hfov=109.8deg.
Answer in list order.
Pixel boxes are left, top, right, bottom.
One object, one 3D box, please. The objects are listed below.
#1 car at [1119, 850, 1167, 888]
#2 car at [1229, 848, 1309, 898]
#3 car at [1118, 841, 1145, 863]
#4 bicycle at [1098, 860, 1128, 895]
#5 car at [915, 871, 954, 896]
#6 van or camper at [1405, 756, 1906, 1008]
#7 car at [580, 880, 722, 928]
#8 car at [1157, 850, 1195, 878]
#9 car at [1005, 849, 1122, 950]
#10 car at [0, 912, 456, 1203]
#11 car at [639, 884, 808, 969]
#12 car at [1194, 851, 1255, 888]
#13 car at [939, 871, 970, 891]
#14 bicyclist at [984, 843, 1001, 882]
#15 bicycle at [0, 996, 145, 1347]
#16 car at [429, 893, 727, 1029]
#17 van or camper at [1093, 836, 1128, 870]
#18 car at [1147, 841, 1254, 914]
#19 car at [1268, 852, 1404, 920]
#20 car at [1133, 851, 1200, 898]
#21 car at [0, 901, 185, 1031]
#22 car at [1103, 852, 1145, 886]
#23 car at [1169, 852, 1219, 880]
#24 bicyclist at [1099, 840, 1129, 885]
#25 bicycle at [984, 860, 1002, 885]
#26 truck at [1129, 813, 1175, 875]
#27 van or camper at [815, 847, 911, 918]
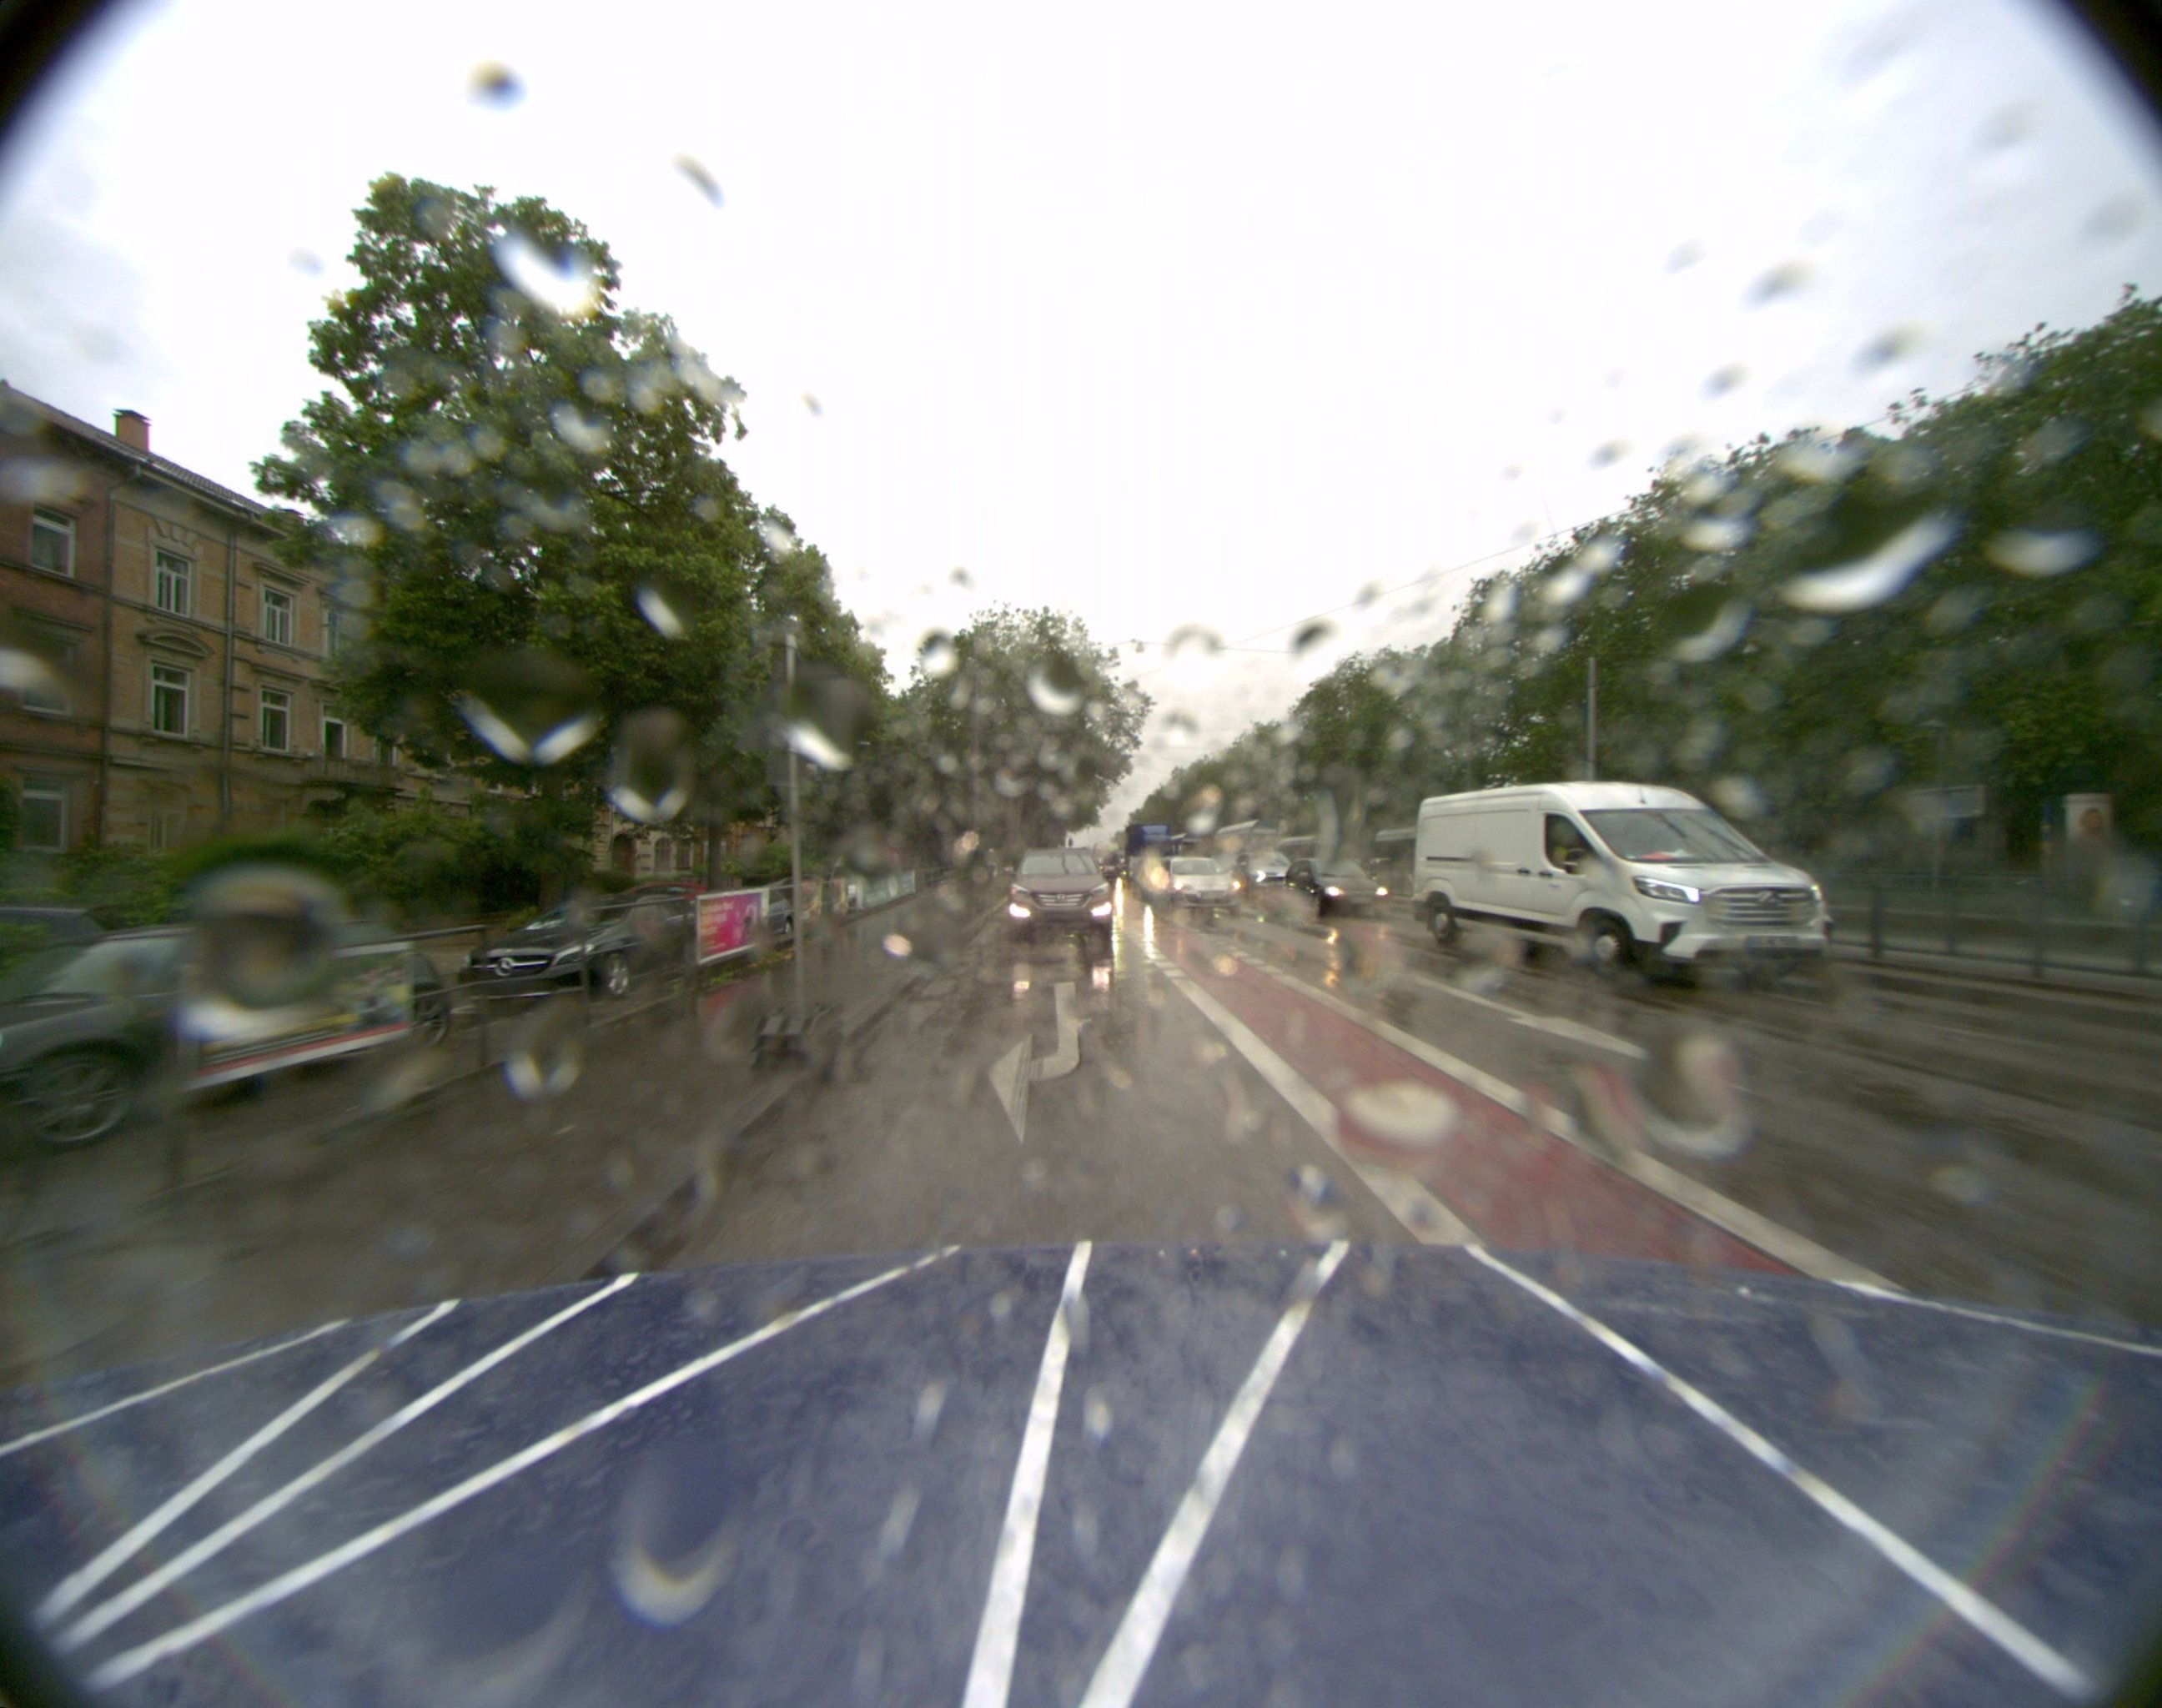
[{"bbox_3d":[2.846,0.685,35.734,1.913,1.637,4.191,-1,-1,0],"label":"car"},{"bbox_3d":[6.655,0.666,27.358,1.847,1.625,4.248,-1,-1,1],"label":"car"},{"bbox_3d":[5.035,-0.225,76.957,2.344,2.137,5.452,-2,1,0],"label":"car"},{"bbox_3d":[1.070,0.762,25.675,0.819,1.082,1.997,-2,1,-3],"label":"bicycle"},{"bbox_3d":[-9.078,1.799,47.280,1.704,1.363,3.999,-2,0,-2],"label":"car"},{"bbox_3d":[6.952,0.298,10.466,2.181,2.456,5.969,-1,0,-3],"label":"van or camper"},{"bbox_3d":[-15.345,1.728,27.183,4.294,1.461,1.705,0,-1,-34],"label":"car"},{"bbox_3d":[5.905,0.612,47.779,1.913,1.637,4.191,-1,-1,1],"label":"car"},{"bbox_3d":[-0.311,0.788,14.982,1.913,1.637,4.680,-1,-1,-1],"label":"car"},{"bbox_3d":[-7.134,1.329,5.878,1.651,1.491,3.517,-2,-1,0],"label":"car"},{"bbox_3d":[-7.529,1.465,16.513,1.731,1.461,4.216,-1,-1,-1],"label":"car"},{"bbox_3d":[6.715,0.711,36.045,1.913,1.637,4.190,-1,-1,-3],"label":"car"},{"bbox_3d":[-9.830,2.092,59.380,1.809,1.446,4.000,-1,-1,-2],"label":"car"},{"bbox_3d":[-3.784,0.376,32.520,0.738,1.646,0.877,0,0,-6],"label":"bicyclist"},{"bbox_3d":[-4.012,1.155,2.194,0.423,1.161,1.792,-3,-1,-3],"label":"bicycle"},{"bbox_3d":[-7.148,1.420,11.427,1.751,1.455,4.216,-1,-1,-2],"label":"car"},{"bbox_3d":[2.228,-0.019,58.595,2.144,2.484,5.712,-1,-1,-3],"label":"van or camper"},{"bbox_3d":[3.071,0.593,20.412,1.976,1.731,4.266,-1,-1,-3],"label":"car"},{"bbox_3d":[6.334,0.745,19.482,1.786,1.504,4.556,-1,-1,-2],"label":"car"},{"bbox_3d":[3.030,0.713,27.797,1.913,1.540,4.667,-1,-1,0],"label":"car"},{"bbox_3d":[-14.547,1.448,9.510,4.008,1.499,1.856,-1,-1,-38],"label":"car"},{"bbox_3d":[2.413,0.797,43.347,1.999,1.737,3.999,-2,1,-2],"label":"car"},{"bbox_3d":[6.154,0.640,41.730,1.913,1.399,4.190,-1,-1,-3],"label":"car"},{"bbox_3d":[1.099,0.279,25.598,0.927,1.461,0.805,-2,1,-2],"label":"bicyclist"},{"bbox_3d":[-3.758,0.778,32.451,0.740,1.066,1.865,0,-1,-6],"label":"bicycle"},{"bbox_3d":[5.220,-0.641,57.203,2.418,4.251,8.352,-1,-1,-2],"label":"truck"},{"bbox_3d":[-8.692,1.091,30.935,2.333,2.575,6.096,-1,-1,-2],"label":"van or camper"}]
